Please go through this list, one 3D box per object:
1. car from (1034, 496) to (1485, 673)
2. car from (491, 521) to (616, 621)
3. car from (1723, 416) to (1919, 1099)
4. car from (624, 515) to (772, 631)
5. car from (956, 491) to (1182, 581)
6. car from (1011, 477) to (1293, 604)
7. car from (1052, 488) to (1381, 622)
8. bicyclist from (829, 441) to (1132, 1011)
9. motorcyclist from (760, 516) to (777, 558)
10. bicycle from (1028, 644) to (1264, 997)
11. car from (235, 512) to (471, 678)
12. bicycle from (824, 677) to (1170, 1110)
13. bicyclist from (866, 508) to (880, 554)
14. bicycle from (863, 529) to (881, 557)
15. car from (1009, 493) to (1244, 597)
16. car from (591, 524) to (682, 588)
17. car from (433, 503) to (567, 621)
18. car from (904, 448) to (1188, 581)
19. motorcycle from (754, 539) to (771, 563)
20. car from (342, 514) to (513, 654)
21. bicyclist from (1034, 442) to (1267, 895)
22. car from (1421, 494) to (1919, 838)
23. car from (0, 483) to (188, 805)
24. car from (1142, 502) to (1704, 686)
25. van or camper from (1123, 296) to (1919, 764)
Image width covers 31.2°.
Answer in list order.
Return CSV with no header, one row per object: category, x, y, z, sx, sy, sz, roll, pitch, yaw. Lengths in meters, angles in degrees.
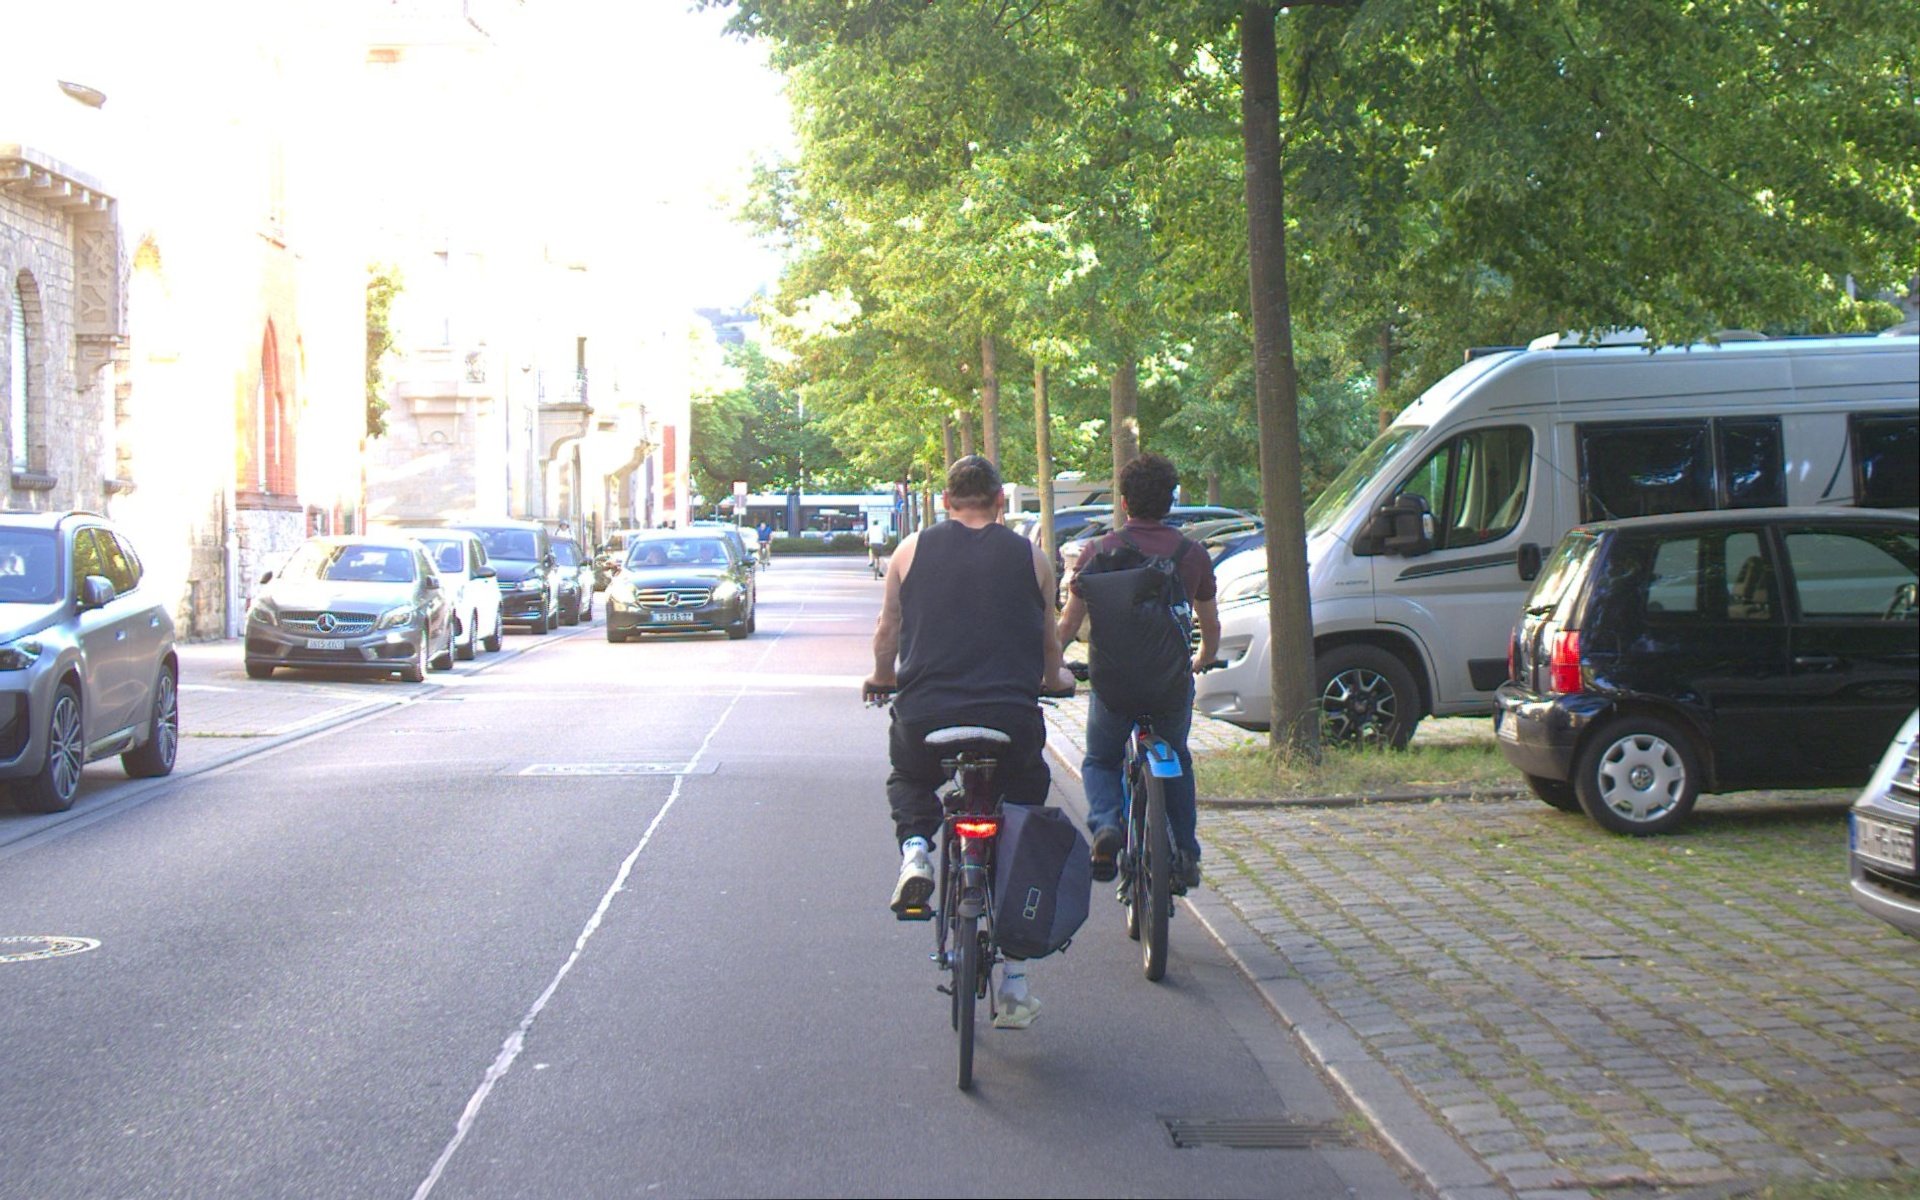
car,2.960,-0.158,34.524,4.242,1.600,1.754,-2,0,-4
car,-6.628,-0.488,56.357,1.615,1.477,4.019,3,1,-2
car,4.505,0.251,8.995,4.475,1.664,1.943,-3,2,-3
car,-3.549,-0.362,46.415,1.896,1.481,4.382,0,0,-5
car,2.333,-1.379,74.429,4.757,1.773,1.855,-2,0,0
car,2.966,-0.918,53.816,4.243,1.833,1.855,-2,0,0
car,3.423,-0.605,46.415,4.243,1.641,1.855,-2,0,0
bicyclist,0.040,0.333,9.716,0.706,1.521,0.972,0,0,-8
motorcyclist,-6.614,-2.184,118.550,0.551,1.443,0.688,-1,1,-4
bicycle,0.621,0.726,12.103,0.555,1.069,1.969,0,1,-5
car,-6.227,-0.076,35.684,1.755,1.512,4.115,3,1,-2
bicycle,0.061,0.786,9.963,0.696,1.069,1.969,0,0,-8
bicyclist,-2.608,-2.056,102.620,0.417,1.346,0.430,0,0,-2
bicycle,-2.622,-1.691,102.656,0.541,0.825,1.919,0,0,-2
car,3.080,-1.017,64.256,4.243,1.791,1.855,-2,0,0
car,-7.712,-1.042,82.319,1.993,1.481,4.000,0,0,-3
car,-6.745,-0.550,50.695,1.630,1.660,3.969,0,0,-3
car,2.240,-2.248,91.132,7.332,3.271,2.223,-2,0,0
motorcycle,-6.815,-1.700,118.411,0.551,0.798,1.308,-1,1,-4
car,-6.339,-0.208,41.241,1.491,1.512,3.775,3,1,-2
bicyclist,0.652,0.229,12.075,0.718,1.521,0.972,0,0,-2
car,4.074,0.262,16.114,3.500,1.467,1.752,-2,0,-2
car,-5.755,0.216,19.438,2.049,1.616,4.396,0,0,-4
car,3.867,-0.057,29.246,4.502,1.448,1.816,-1,1,0
van or camper,3.950,-0.449,21.200,5.573,2.528,2.269,-3,0,-3
